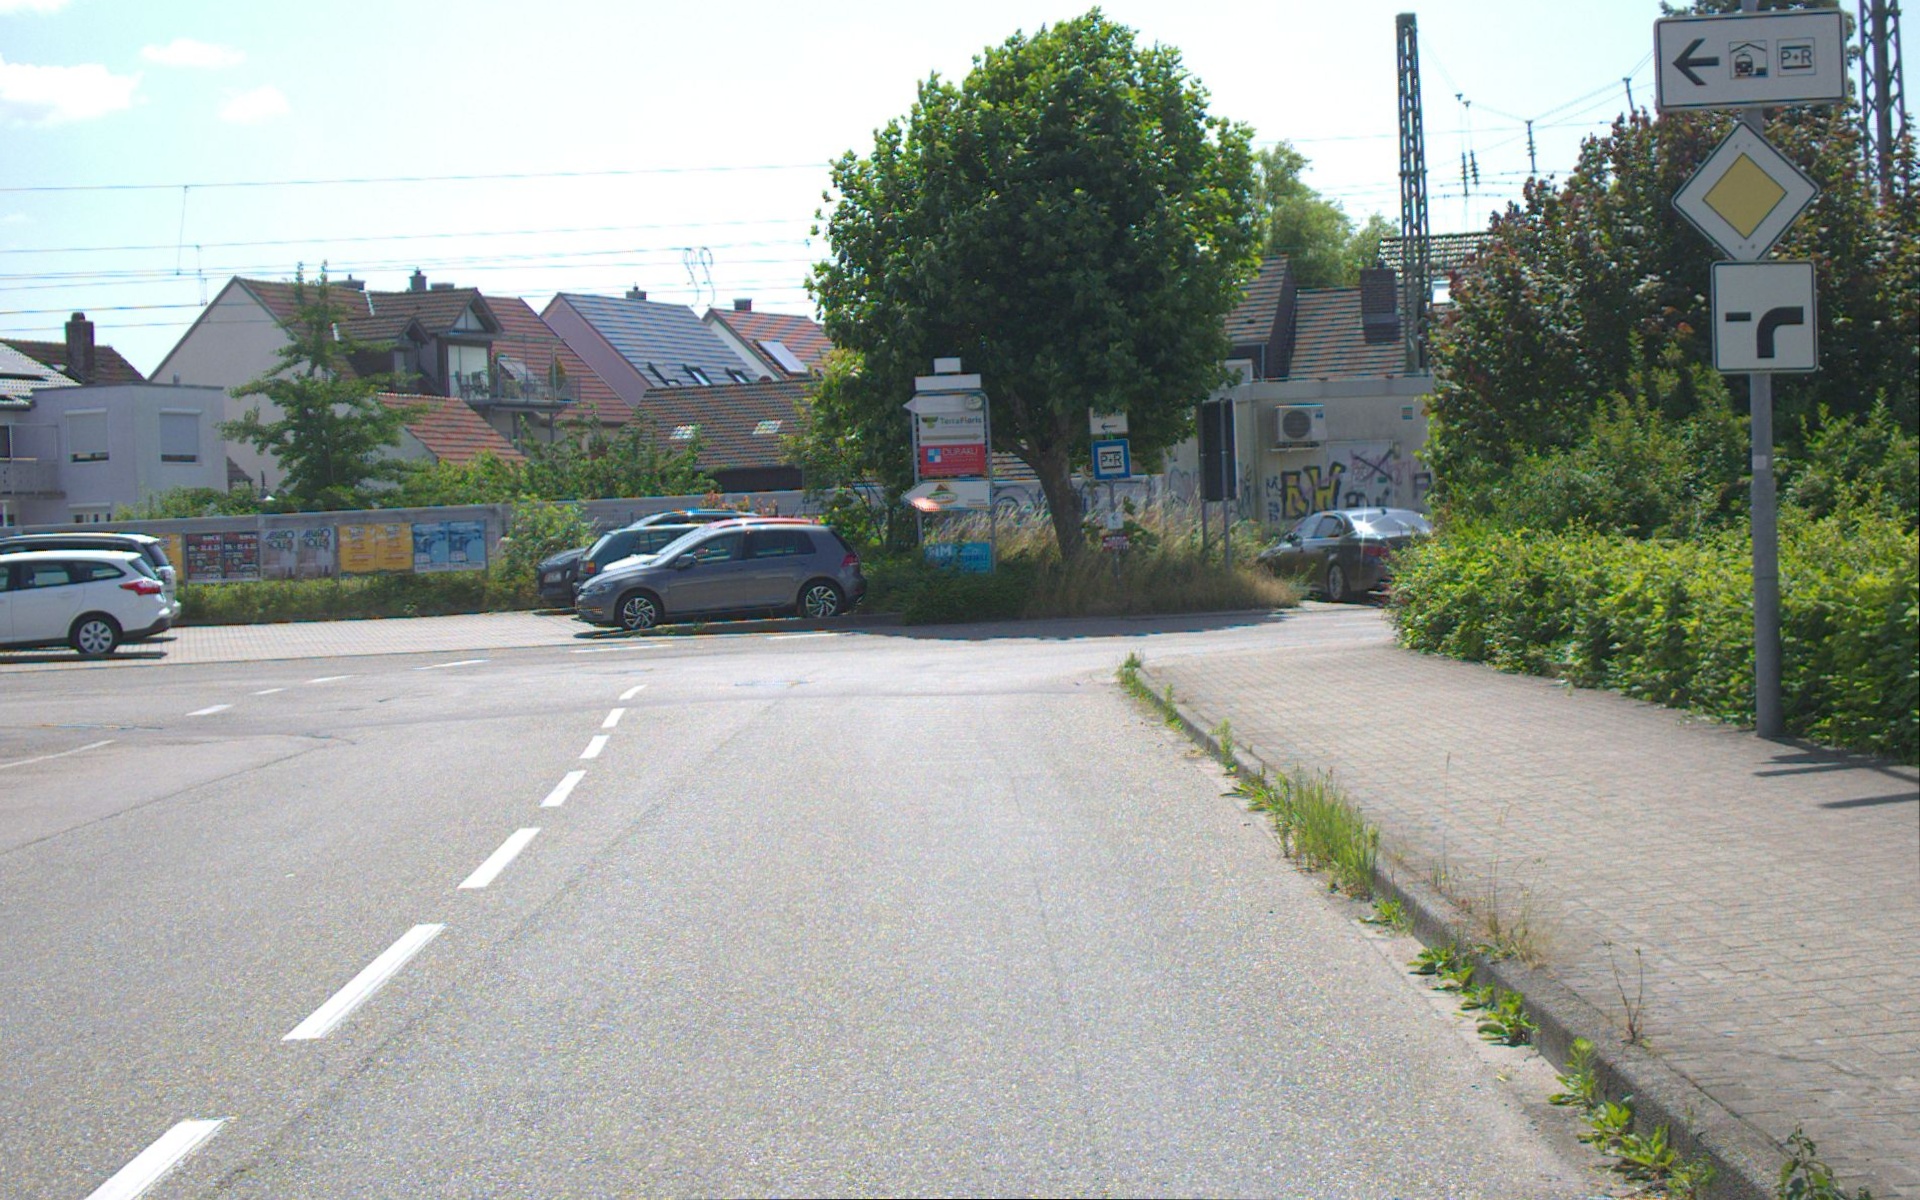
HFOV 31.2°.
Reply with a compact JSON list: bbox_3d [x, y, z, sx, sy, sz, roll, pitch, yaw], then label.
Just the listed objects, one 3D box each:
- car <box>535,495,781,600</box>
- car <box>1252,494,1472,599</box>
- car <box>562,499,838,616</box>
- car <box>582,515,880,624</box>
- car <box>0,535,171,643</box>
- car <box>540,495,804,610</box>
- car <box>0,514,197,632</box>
[{"bbox_3d":[-5.093,-0.882,57.735,3.986,1.724,1.771,0,0,-10],"label":"car"},{"bbox_3d":[6.197,-0.864,53.483,1.751,1.381,4.002,-1,5,-20],"label":"car"},{"bbox_3d":[-3.976,-0.646,52.325,3.986,1.581,1.780,-2,1,-9],"label":"car"},{"bbox_3d":[-3.371,-0.445,50.213,4.186,1.458,1.665,-2,1,-9],"label":"car"},{"bbox_3d":[-13.285,-0.154,48.236,4.281,1.472,1.828,0,1,-12],"label":"car"},{"bbox_3d":[-4.640,-0.776,55.114,3.986,1.651,2.001,-3,1,-10],"label":"car"},{"bbox_3d":[-14.097,-0.412,52.878,4.451,1.684,2.001,-2,2,-9],"label":"car"}]
